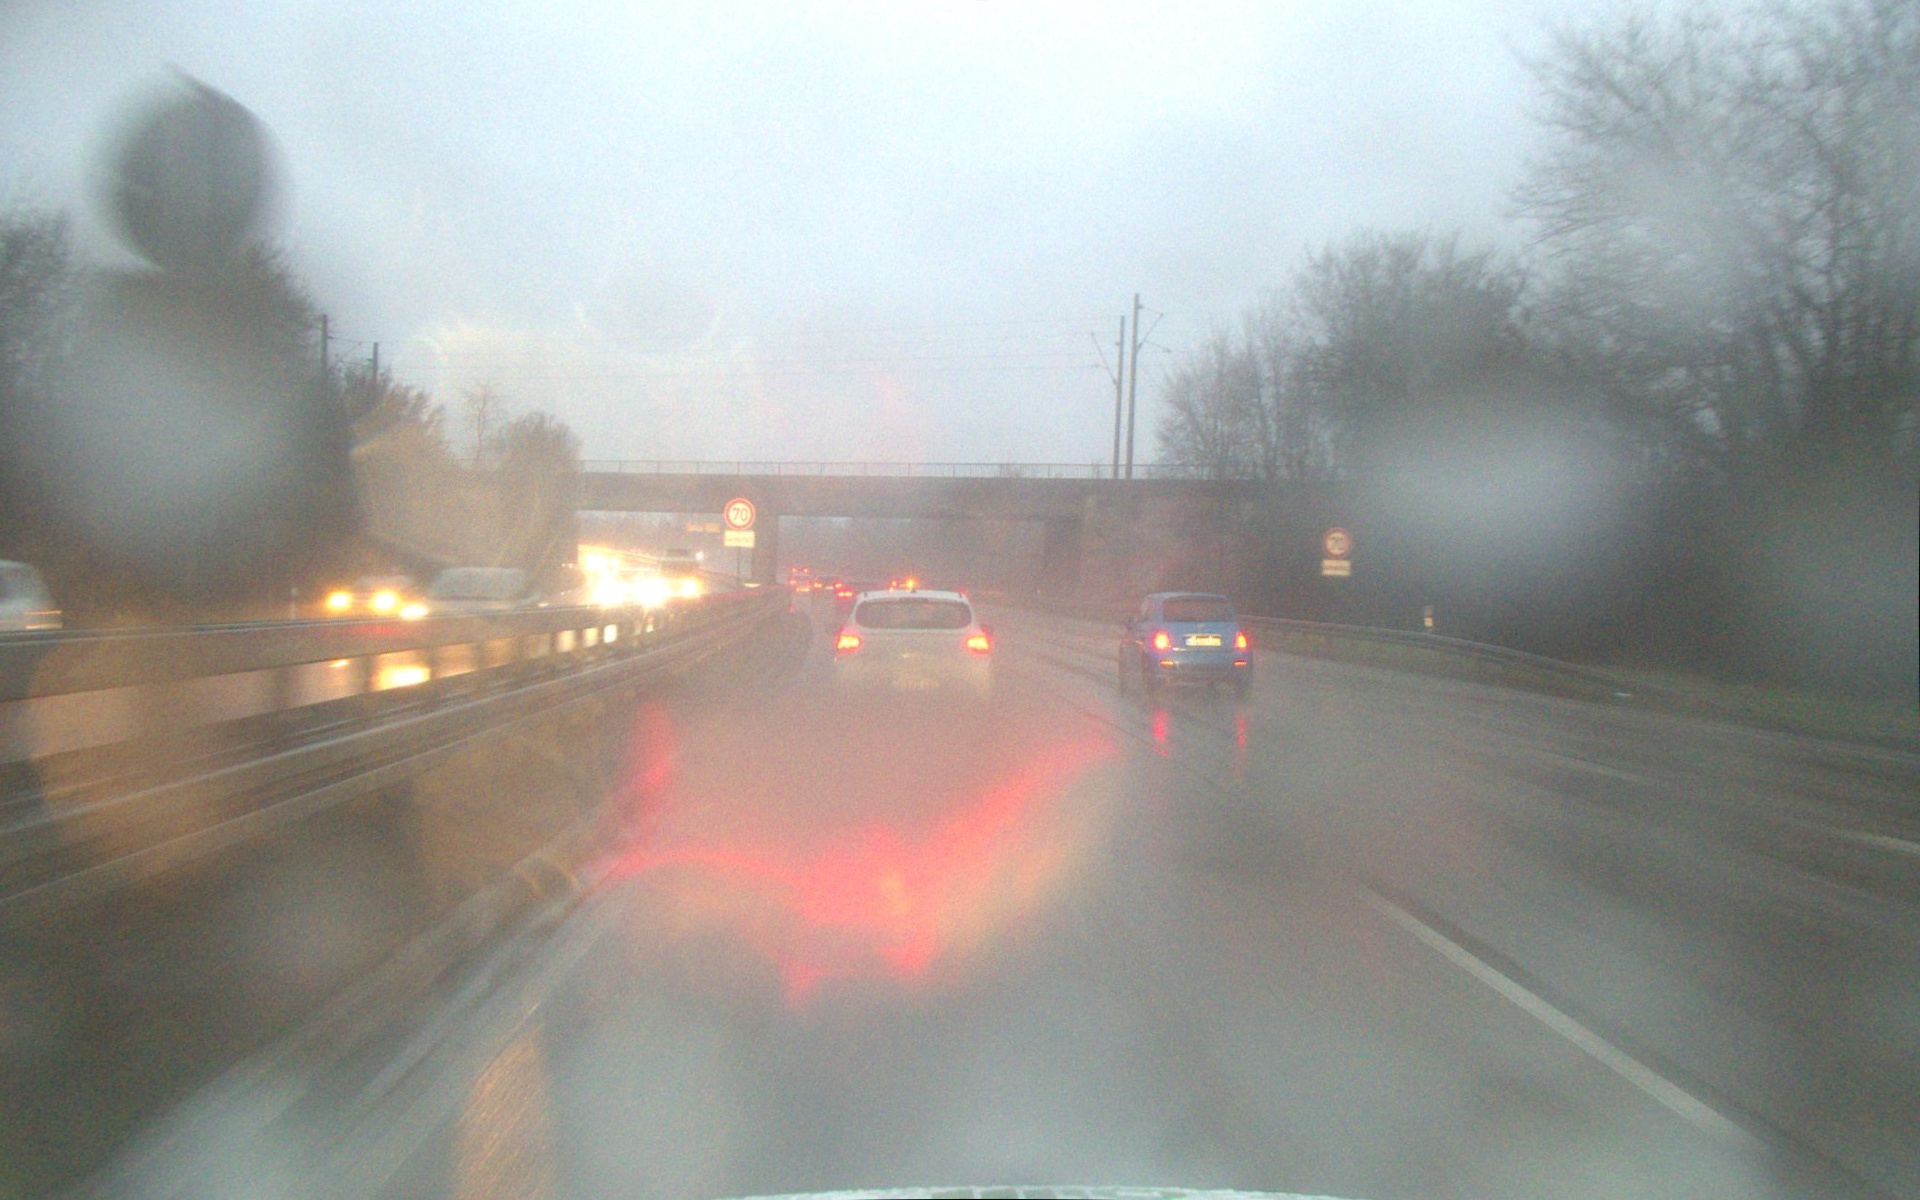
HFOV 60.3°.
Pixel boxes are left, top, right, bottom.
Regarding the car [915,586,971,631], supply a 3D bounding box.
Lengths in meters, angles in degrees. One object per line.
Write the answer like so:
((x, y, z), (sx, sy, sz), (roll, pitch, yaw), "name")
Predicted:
((-0.732, 0.375, 67.385), (1.895, 1.573, 3.769), (-4, -2, -5), "car")

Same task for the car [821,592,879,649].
((-4.282, 0.782, 63.926), (1.956, 2.049, 3.993), (2, -1, -8), "car")

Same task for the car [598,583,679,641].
((-10.956, 0.416, 56.659), (1.947, 1.862, 5.116), (2, -1, -3), "car")

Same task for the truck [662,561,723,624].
((-14.596, -0.373, 90.735), (2.661, 3.216, 7.720), (2, -1, -5), "truck")

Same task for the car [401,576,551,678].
((-8.847, 0.489, 30.552), (1.731, 1.713, 3.997), (2, -1, -3), "car")

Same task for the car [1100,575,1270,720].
((3.443, 0.703, 25.955), (1.894, 2.055, 3.770), (2, -1, -4), "car")

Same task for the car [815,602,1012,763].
((-0.613, 0.863, 18.993), (1.985, 1.602, 3.996), (2, -1, -4), "car")

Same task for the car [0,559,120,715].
((-11.293, 0.382, 18.436), (1.658, 1.695, 4.431), (2, -1, -2), "car")
